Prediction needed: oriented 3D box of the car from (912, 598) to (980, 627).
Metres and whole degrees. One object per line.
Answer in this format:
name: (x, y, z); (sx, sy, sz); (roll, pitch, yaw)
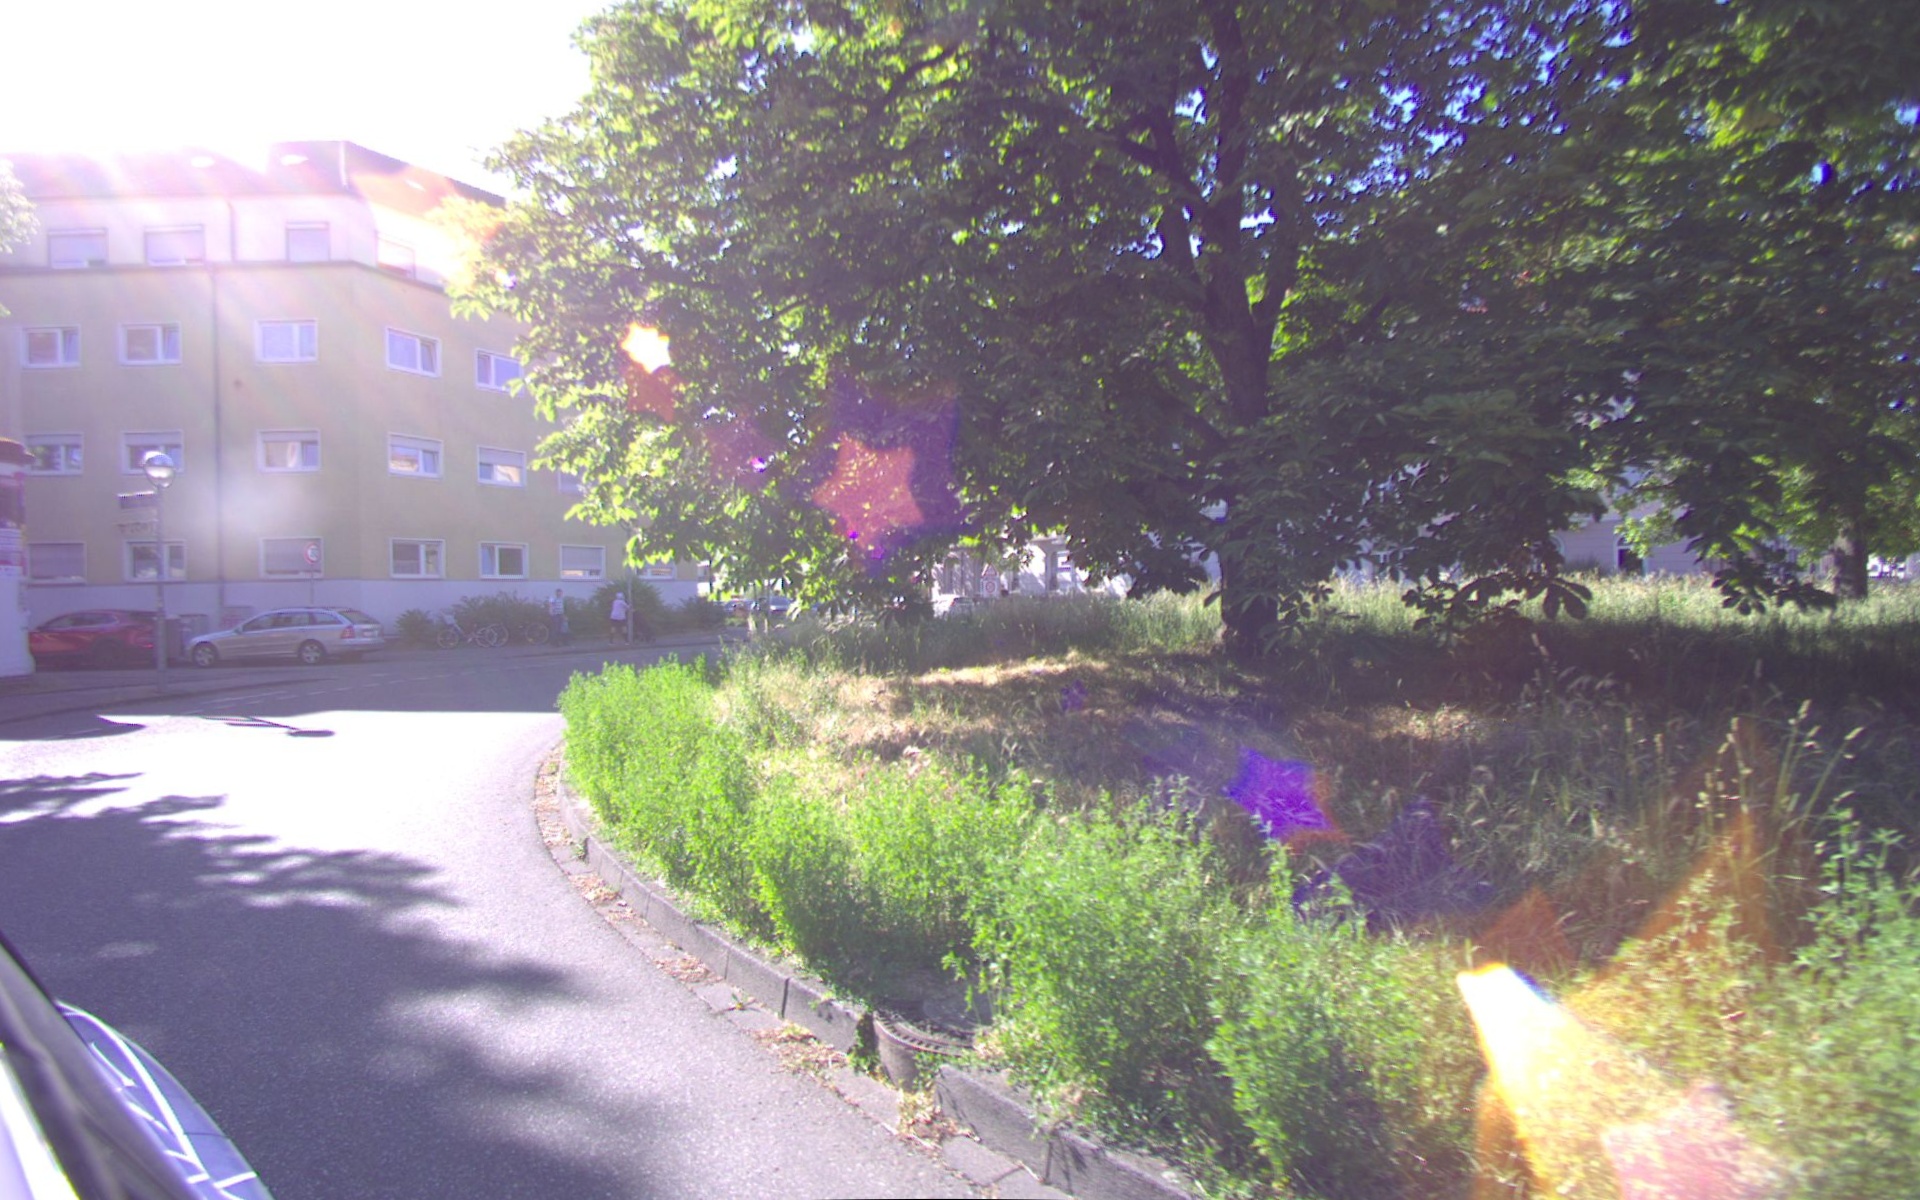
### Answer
car: (-0.768, 0.659, 52.290); (1.769, 1.423, 4.012); (-1, 0, -29)

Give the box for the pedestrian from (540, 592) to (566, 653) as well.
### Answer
pedestrian: (-11.767, 0.638, 29.277); (0.599, 1.705, 0.556); (-2, 4, -19)

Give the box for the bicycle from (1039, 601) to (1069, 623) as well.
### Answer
bicycle: (4.937, 0.623, 53.208); (0.561, 1.132, 1.805); (-1, 0, -32)

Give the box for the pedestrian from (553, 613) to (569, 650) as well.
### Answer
pedestrian: (-11.760, 0.916, 29.837); (0.400, 1.047, 0.377); (-2, 4, -19)

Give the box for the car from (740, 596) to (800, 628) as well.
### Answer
car: (-10.319, 0.660, 54.747); (1.770, 1.587, 4.011); (-2, 0, -32)

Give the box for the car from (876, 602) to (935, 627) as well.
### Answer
car: (-3.049, 0.799, 56.104); (1.769, 1.265, 3.730); (-1, 0, -30)

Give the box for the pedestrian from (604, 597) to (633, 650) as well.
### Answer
pedestrian: (-10.105, 0.683, 29.944); (0.685, 1.535, 0.652); (-1, 0, -30)

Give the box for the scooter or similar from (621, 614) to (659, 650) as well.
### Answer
scooter or similar: (-9.633, 0.949, 30.459); (0.884, 1.031, 0.920); (-1, 0, -31)

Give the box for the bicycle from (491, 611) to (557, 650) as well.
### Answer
bicycle: (-13.079, 0.902, 30.377); (1.769, 1.116, 0.502); (-1, 0, -24)

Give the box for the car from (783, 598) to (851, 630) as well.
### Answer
car: (-7.041, 0.693, 49.535); (1.773, 1.422, 4.011); (-2, 0, -32)

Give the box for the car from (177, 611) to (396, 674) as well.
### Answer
car: (-17.041, 1.057, 25.749); (4.427, 1.422, 1.732); (-1, 0, 1)

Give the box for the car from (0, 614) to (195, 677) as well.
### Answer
car: (-22.302, 1.141, 25.777); (4.327, 1.450, 1.735); (-1, 0, 1)

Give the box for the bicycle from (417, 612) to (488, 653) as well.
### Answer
bicycle: (-14.835, 0.946, 29.611); (1.771, 1.116, 0.501); (-1, 0, -10)

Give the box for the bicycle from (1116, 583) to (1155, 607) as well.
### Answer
bicycle: (8.515, -0.223, 49.111); (1.788, 1.116, 0.496); (-1, 0, 23)

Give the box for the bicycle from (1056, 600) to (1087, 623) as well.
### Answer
bicycle: (5.652, 0.607, 51.327); (0.561, 1.132, 1.805); (-1, 0, -32)

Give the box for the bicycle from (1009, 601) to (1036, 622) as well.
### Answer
bicycle: (3.537, 0.661, 57.575); (0.561, 1.132, 1.805); (-1, 0, -32)

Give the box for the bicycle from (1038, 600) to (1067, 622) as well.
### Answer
bicycle: (4.986, 0.601, 54.743); (0.561, 1.132, 1.805); (-1, 0, -32)
